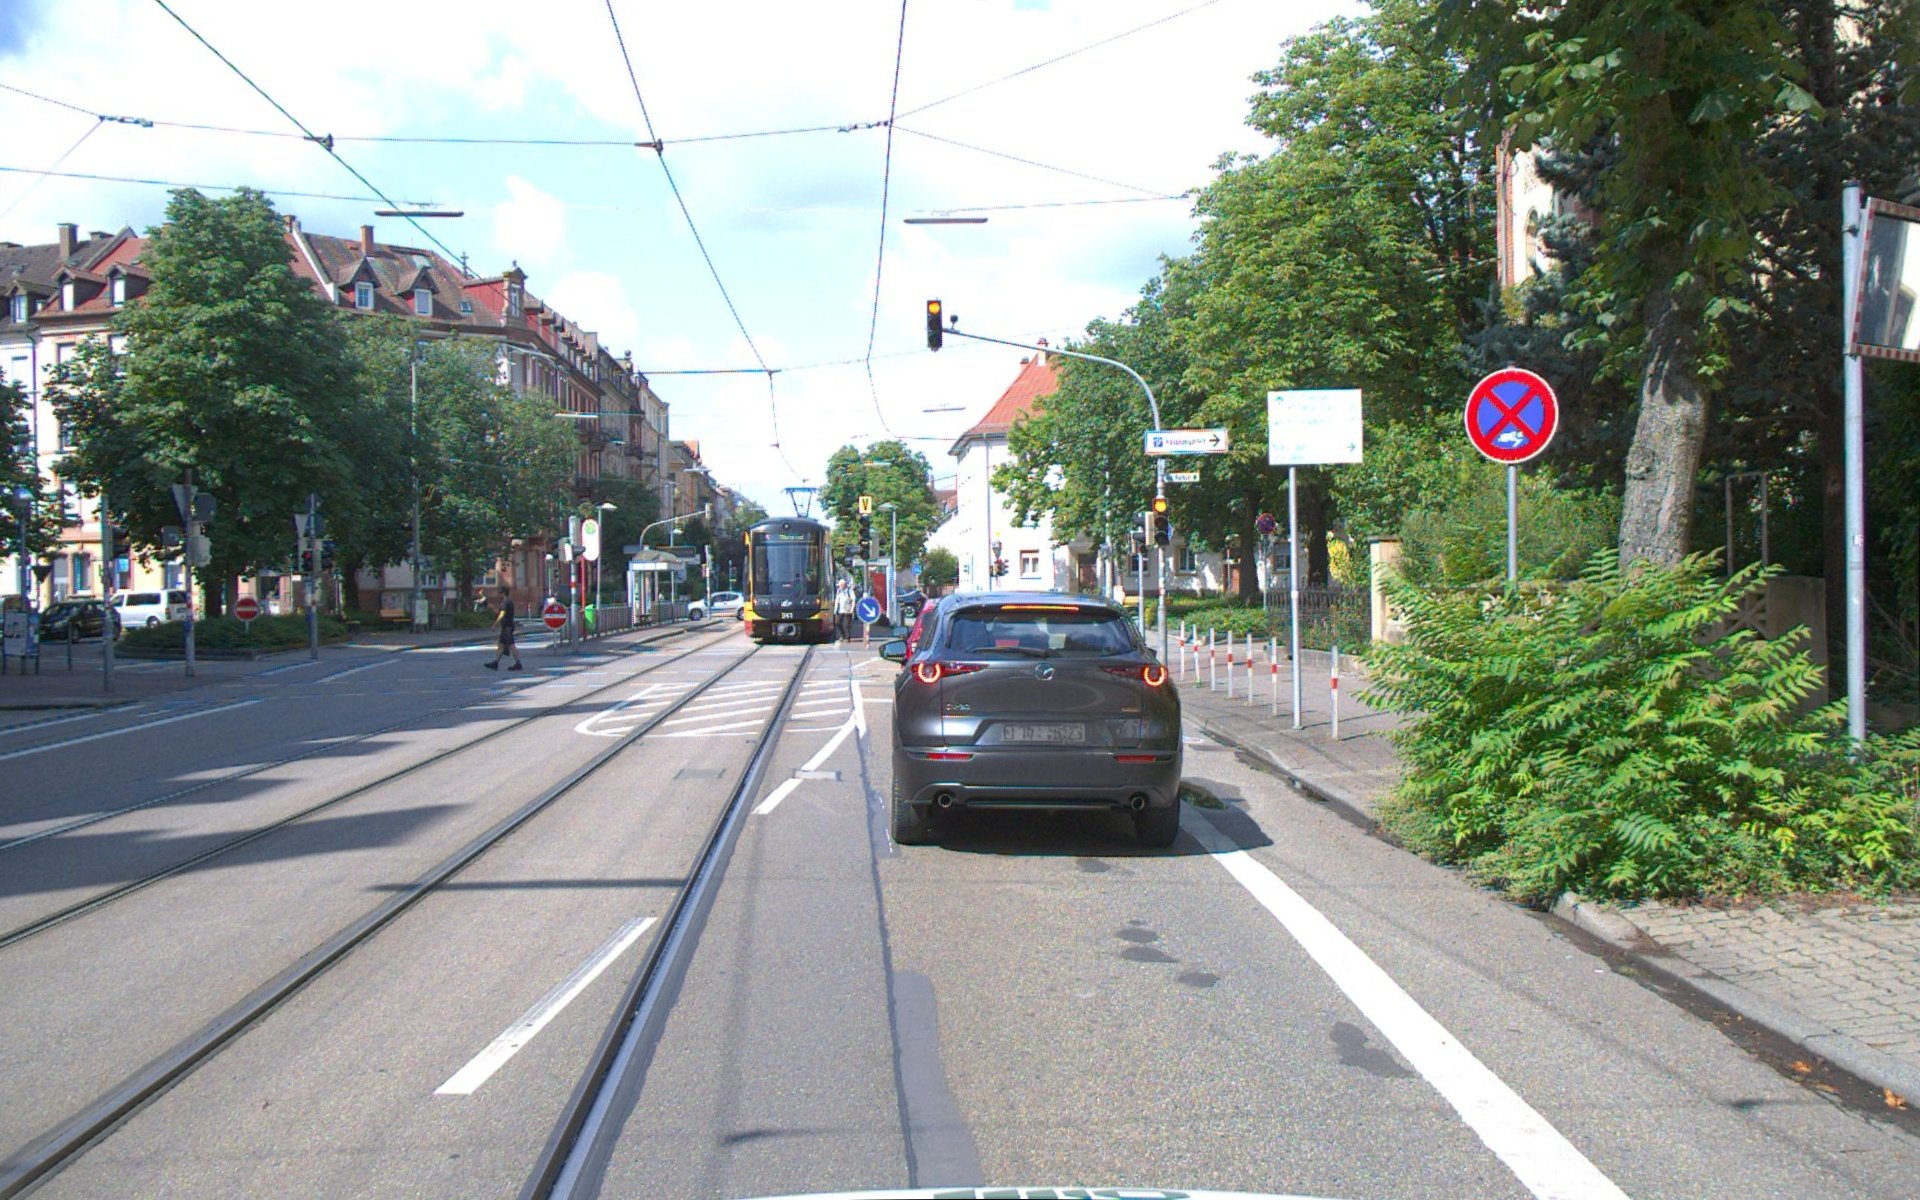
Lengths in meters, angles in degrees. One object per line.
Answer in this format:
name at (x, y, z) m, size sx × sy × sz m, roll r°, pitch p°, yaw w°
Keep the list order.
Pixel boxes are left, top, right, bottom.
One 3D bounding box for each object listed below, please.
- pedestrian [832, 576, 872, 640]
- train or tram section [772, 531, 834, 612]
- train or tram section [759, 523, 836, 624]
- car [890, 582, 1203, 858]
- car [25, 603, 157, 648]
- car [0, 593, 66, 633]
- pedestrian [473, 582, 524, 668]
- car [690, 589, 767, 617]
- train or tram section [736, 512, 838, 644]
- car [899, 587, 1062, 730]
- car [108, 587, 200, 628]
pedestrian at (-2.958, 0.221, 45.318) m, size 0.713 × 1.735 × 0.811 m, roll -1°, pitch 0°, yaw -43°
train or tram section at (-7.547, -1.449, 80.875) m, size 2.699 × 3.551 × 14.396 m, roll -1°, pitch 1°, yaw -5°
train or tram section at (-6.406, -1.124, 66.530) m, size 2.699 × 3.551 × 14.396 m, roll -1°, pitch 1°, yaw -5°
car at (0.456, 0.665, 11.334) m, size 1.742 × 1.526 × 3.999 m, roll 1°, pitch 0°, yaw -1°
car at (-32.413, 0.941, 61.786) m, size 1.722 × 1.545 × 4.062 m, roll -1°, pitch 0°, yaw 29°
car at (-39.428, 0.544, 68.250) m, size 3.905 × 1.624 × 2.000 m, roll -1°, pitch 0°, yaw 0°
pedestrian at (-9.325, 0.493, 33.420) m, size 0.735 × 1.713 × 0.701 m, roll -1°, pitch 0°, yaw 8°
car at (-12.290, 0.146, 87.662) m, size 3.918 × 1.384 × 1.673 m, roll -1°, pitch 0°, yaw -13°
train or tram section at (-5.272, -0.776, 52.205) m, size 2.699 × 3.551 × 14.396 m, roll -1°, pitch 1°, yaw -5°
car at (0.192, 0.619, 19.938) m, size 1.742 × 1.526 × 3.999 m, roll 1°, pitch 0°, yaw -1°
car at (-39.262, 0.371, 80.574) m, size 3.906 × 1.937 × 1.999 m, roll -1°, pitch 0°, yaw 24°
